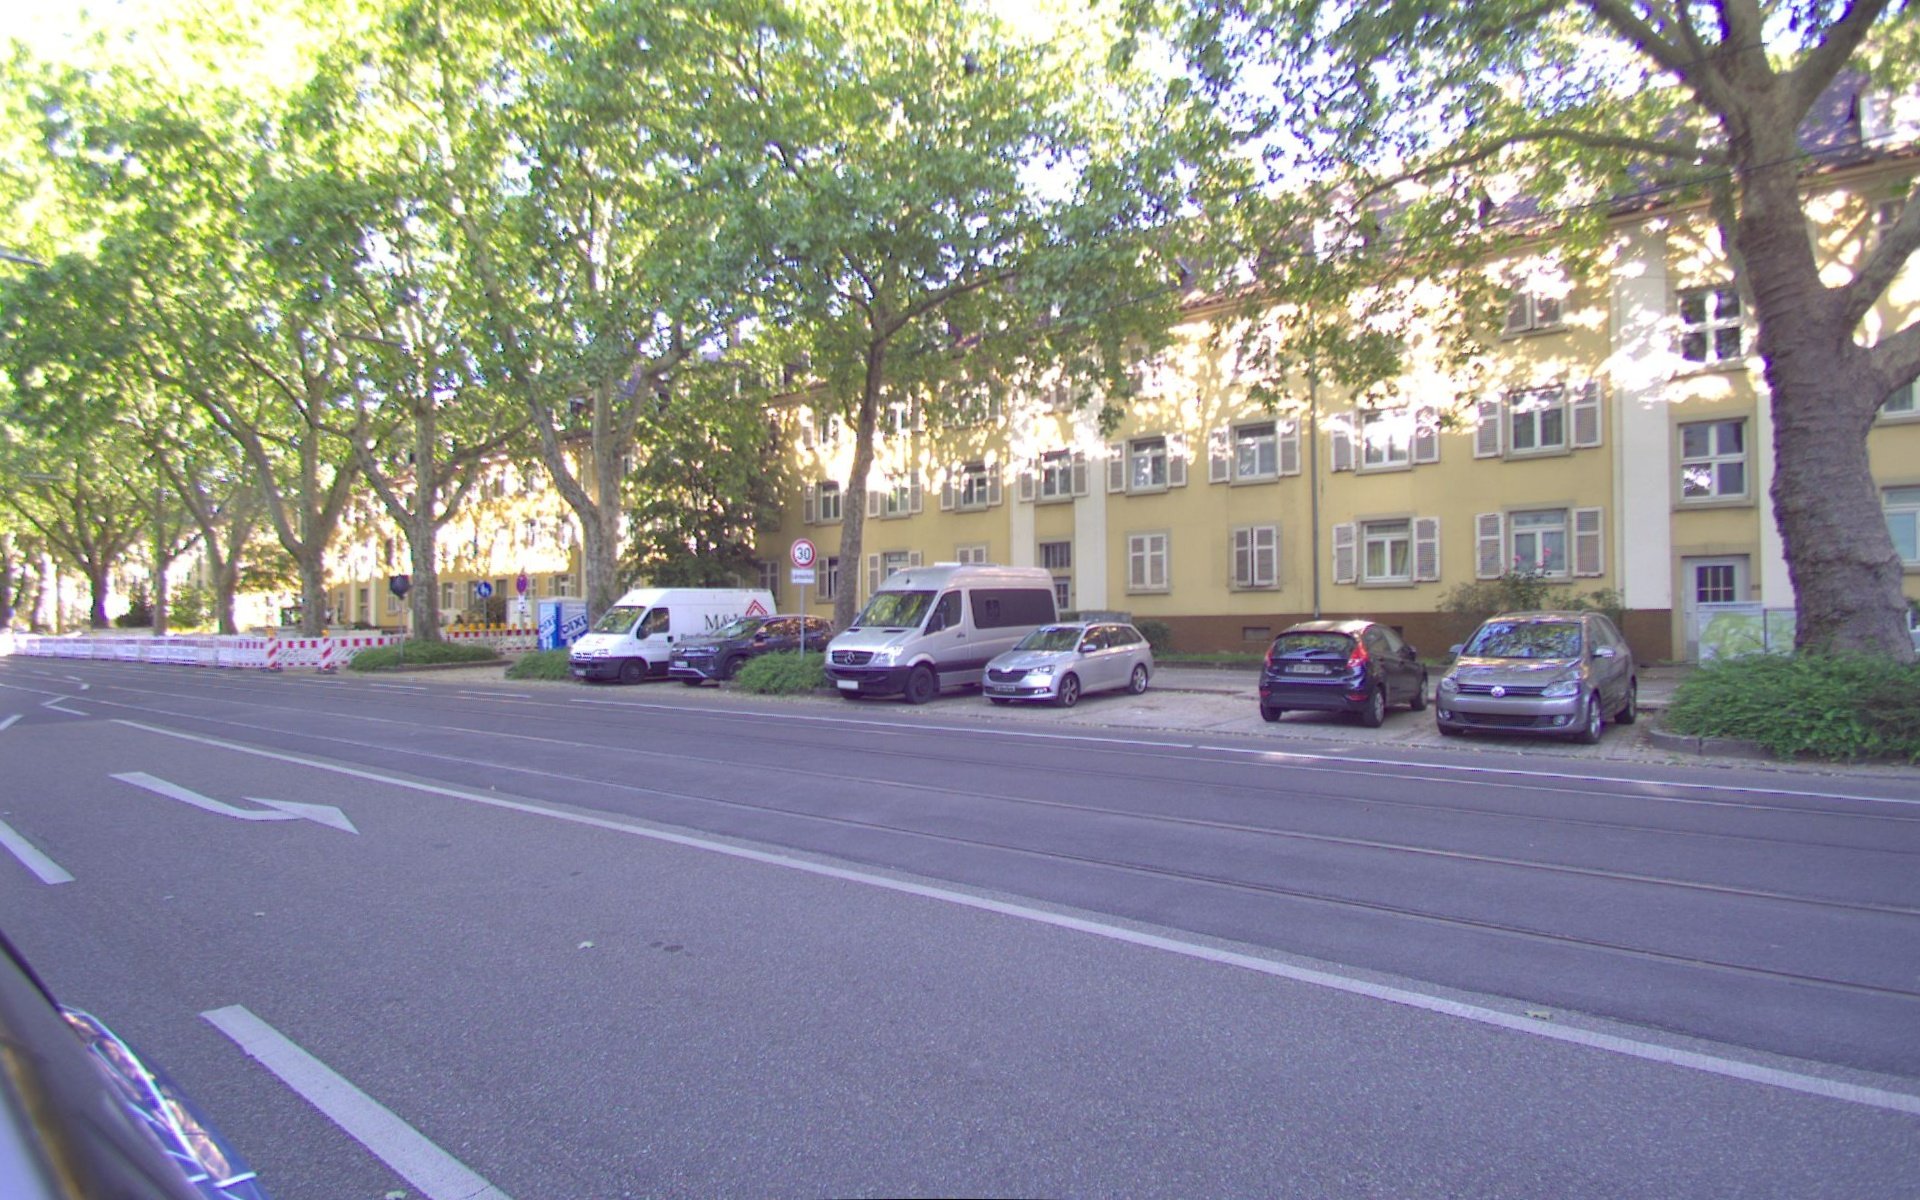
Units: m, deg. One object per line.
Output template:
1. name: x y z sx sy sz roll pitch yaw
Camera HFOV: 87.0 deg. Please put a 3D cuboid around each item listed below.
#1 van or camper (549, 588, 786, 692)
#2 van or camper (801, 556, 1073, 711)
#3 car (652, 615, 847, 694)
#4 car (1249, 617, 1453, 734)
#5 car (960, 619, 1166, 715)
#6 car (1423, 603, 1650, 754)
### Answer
1. van or camper: -7.427 0.918 26.302 2.154 2.403 5.690 -1 0 40
2. van or camper: -0.252 0.565 20.331 2.154 2.668 5.857 -1 0 40
3. car: -4.956 1.221 24.327 1.693 1.645 4.481 -1 0 41
4. car: 6.030 1.029 15.374 1.693 1.457 3.811 -1 0 41
5. car: 2.018 1.141 18.773 1.693 1.457 4.221 -1 0 41
6. car: 7.685 0.881 13.314 1.844 1.631 4.028 -1 0 41
